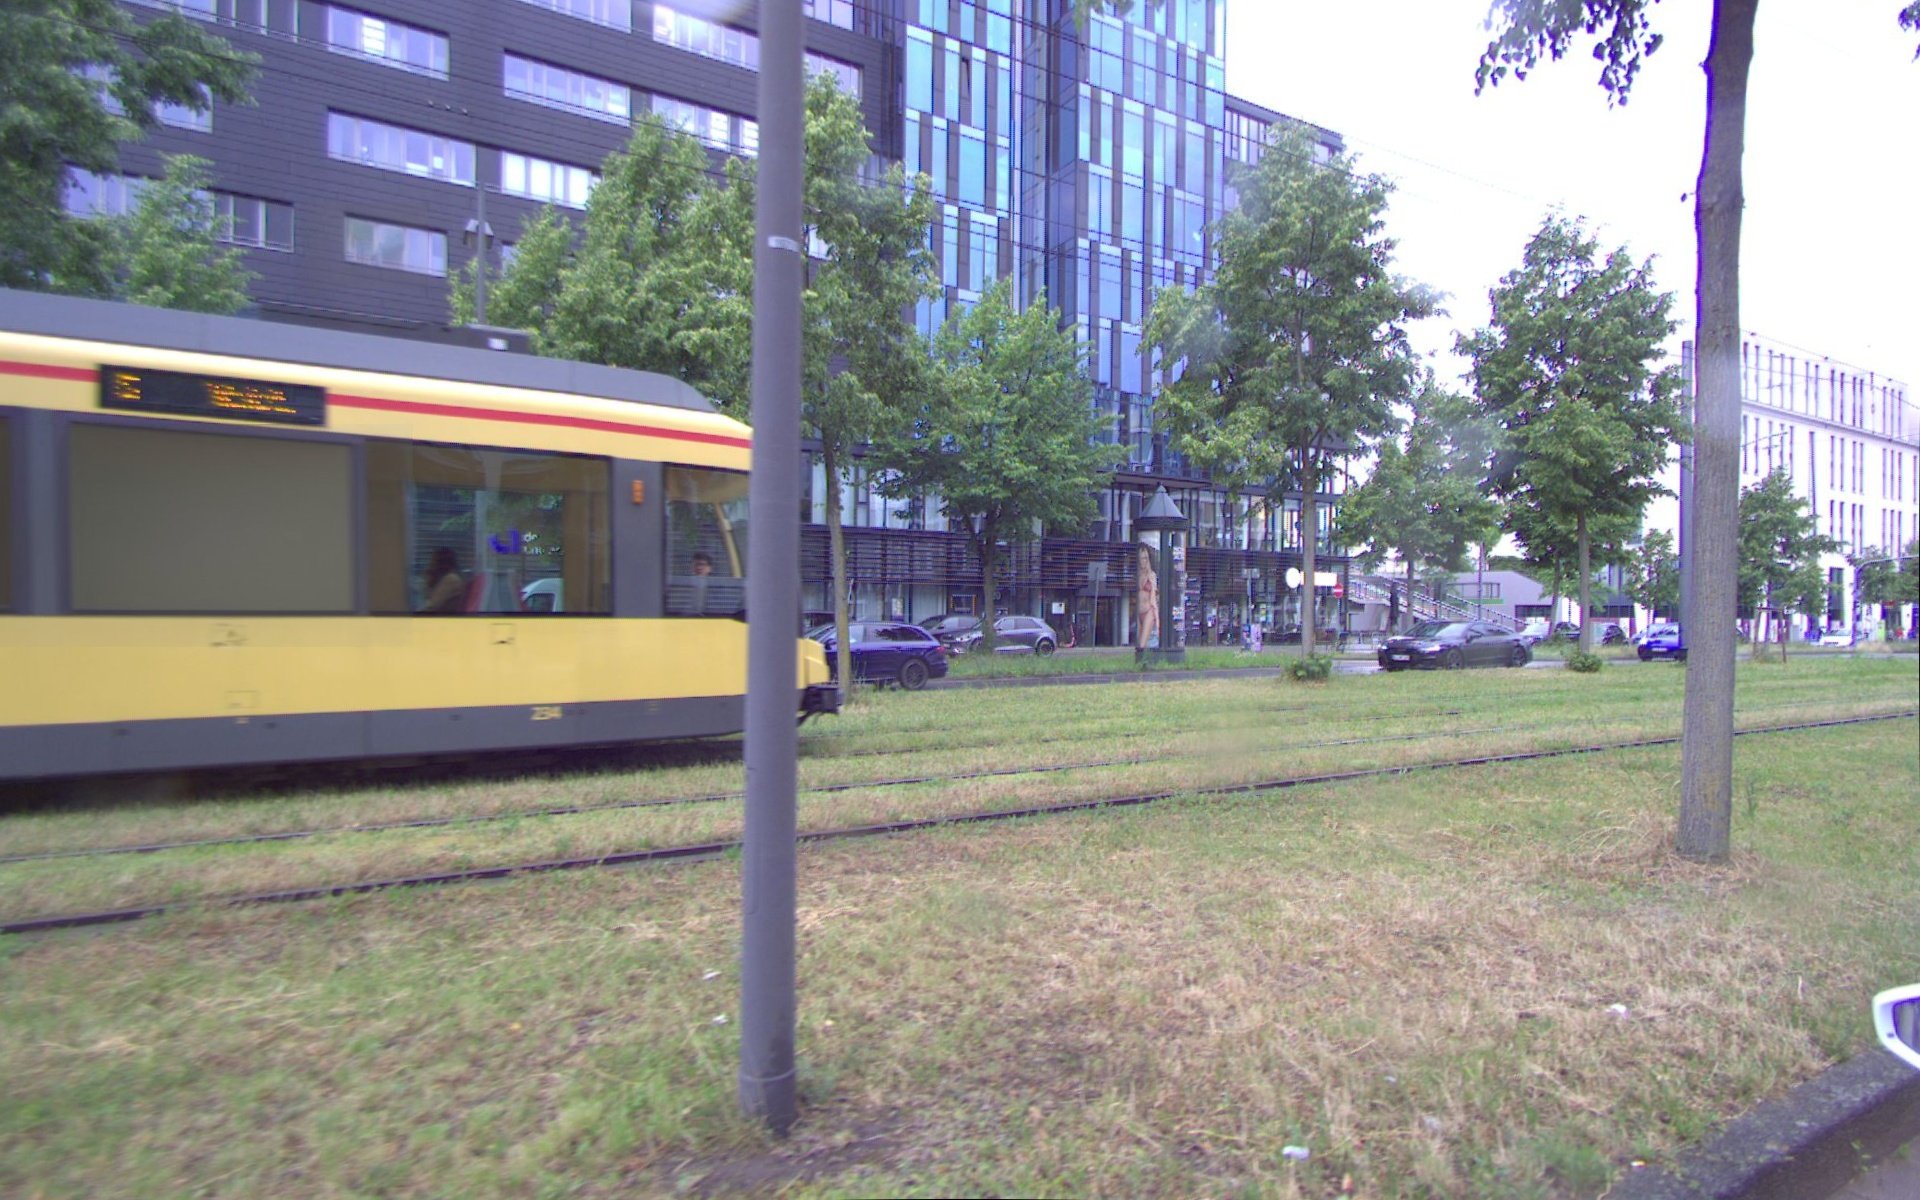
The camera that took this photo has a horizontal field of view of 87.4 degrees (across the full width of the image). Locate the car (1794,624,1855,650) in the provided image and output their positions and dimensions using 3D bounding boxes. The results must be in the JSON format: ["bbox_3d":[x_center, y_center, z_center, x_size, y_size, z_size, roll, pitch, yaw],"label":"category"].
[{"bbox_3d":[57.019,2.434,66.219,3.955,1.639,1.983,1,-1,-32],"label":"car"}]

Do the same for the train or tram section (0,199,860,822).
[{"bbox_3d":[-8.067,-0.558,6.388,14.888,3.708,3.113,1,0,-31],"label":"train or tram section"}]

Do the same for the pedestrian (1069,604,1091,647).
[{"bbox_3d":[5.694,1.205,47.657,0.783,2.040,0.699,1,0,-32],"label":"pedestrian"}]

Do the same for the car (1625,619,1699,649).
[{"bbox_3d":[38.584,1.838,55.190,4.402,1.504,1.980,1,0,-36],"label":"car"}]

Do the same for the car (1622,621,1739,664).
[{"bbox_3d":[28.436,1.637,39.604,4.955,1.542,1.983,1,0,-32],"label":"car"}]

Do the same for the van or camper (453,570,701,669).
[{"bbox_3d":[-10.011,0.502,26.363,5.781,2.346,2.421,1,0,-30],"label":"van or camper"}]

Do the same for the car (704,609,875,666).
[{"bbox_3d":[-4.985,1.070,29.465,4.555,1.542,1.983,1,0,-32],"label":"car"}]

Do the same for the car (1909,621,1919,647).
[{"bbox_3d":[60.686,2.107,62.142,3.955,1.639,1.983,1,-1,-32],"label":"car"}]

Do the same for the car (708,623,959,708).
[{"bbox_3d":[-2.589,1.281,20.899,4.814,1.542,1.984,1,0,-30],"label":"car"}]

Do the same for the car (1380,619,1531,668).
[{"bbox_3d":[15.617,1.330,31.578,4.816,1.398,1.983,1,0,-31],"label":"car"}]

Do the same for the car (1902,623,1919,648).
[{"bbox_3d":[74.127,2.696,76.886,3.954,1.862,1.983,1,0,-31],"label":"car"}]

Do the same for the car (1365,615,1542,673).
[{"bbox_3d":[13.307,1.149,27.005,4.816,1.398,1.983,1,0,-31],"label":"car"}]

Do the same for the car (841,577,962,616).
[{"bbox_3d":[-2.243,-0.118,38.978,4.398,1.368,1.742,1,0,-32],"label":"car"}]

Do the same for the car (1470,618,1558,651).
[{"bbox_3d":[26.917,1.659,48.764,4.400,1.504,1.981,1,0,-35],"label":"car"}]

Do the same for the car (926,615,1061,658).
[{"bbox_3d":[1.251,1.341,37.334,4.677,1.424,1.984,1,1,-30],"label":"car"}]
